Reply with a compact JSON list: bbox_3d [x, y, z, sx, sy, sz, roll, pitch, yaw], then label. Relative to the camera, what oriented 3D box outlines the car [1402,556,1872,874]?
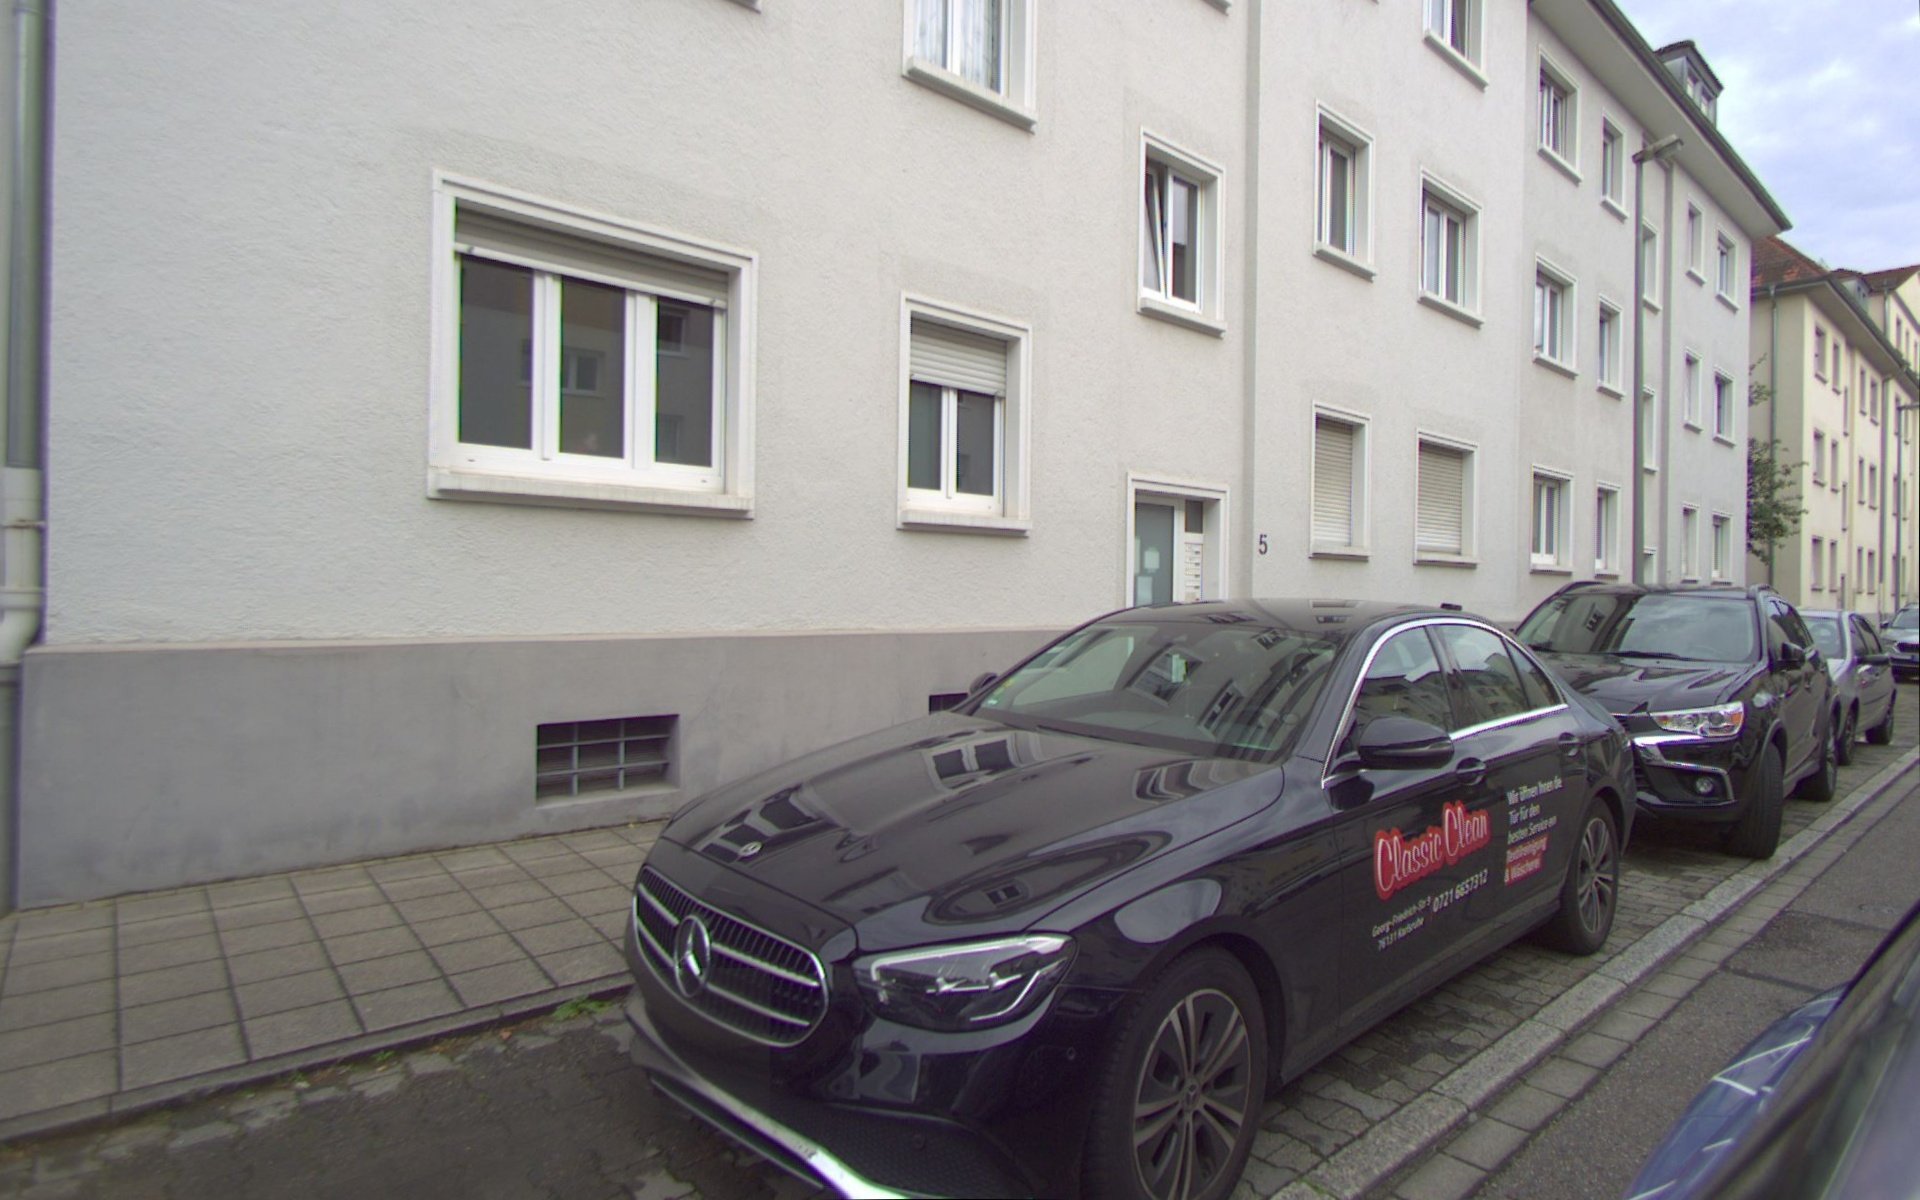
[{"bbox_3d":[4.987,0.579,7.213,4.089,1.619,1.851,1,1,-42],"label":"car"}]

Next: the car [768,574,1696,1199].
[{"bbox_3d":[1.504,0.688,4.289,4.249,1.481,1.784,1,1,-42],"label":"car"}]

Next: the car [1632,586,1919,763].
[{"bbox_3d":[8.647,0.654,10.617,3.690,1.505,1.736,1,1,-41],"label":"car"}]

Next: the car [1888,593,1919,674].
[{"bbox_3d":[20.402,0.669,20.722,3.615,1.566,1.735,0,1,-42],"label":"car"}]
